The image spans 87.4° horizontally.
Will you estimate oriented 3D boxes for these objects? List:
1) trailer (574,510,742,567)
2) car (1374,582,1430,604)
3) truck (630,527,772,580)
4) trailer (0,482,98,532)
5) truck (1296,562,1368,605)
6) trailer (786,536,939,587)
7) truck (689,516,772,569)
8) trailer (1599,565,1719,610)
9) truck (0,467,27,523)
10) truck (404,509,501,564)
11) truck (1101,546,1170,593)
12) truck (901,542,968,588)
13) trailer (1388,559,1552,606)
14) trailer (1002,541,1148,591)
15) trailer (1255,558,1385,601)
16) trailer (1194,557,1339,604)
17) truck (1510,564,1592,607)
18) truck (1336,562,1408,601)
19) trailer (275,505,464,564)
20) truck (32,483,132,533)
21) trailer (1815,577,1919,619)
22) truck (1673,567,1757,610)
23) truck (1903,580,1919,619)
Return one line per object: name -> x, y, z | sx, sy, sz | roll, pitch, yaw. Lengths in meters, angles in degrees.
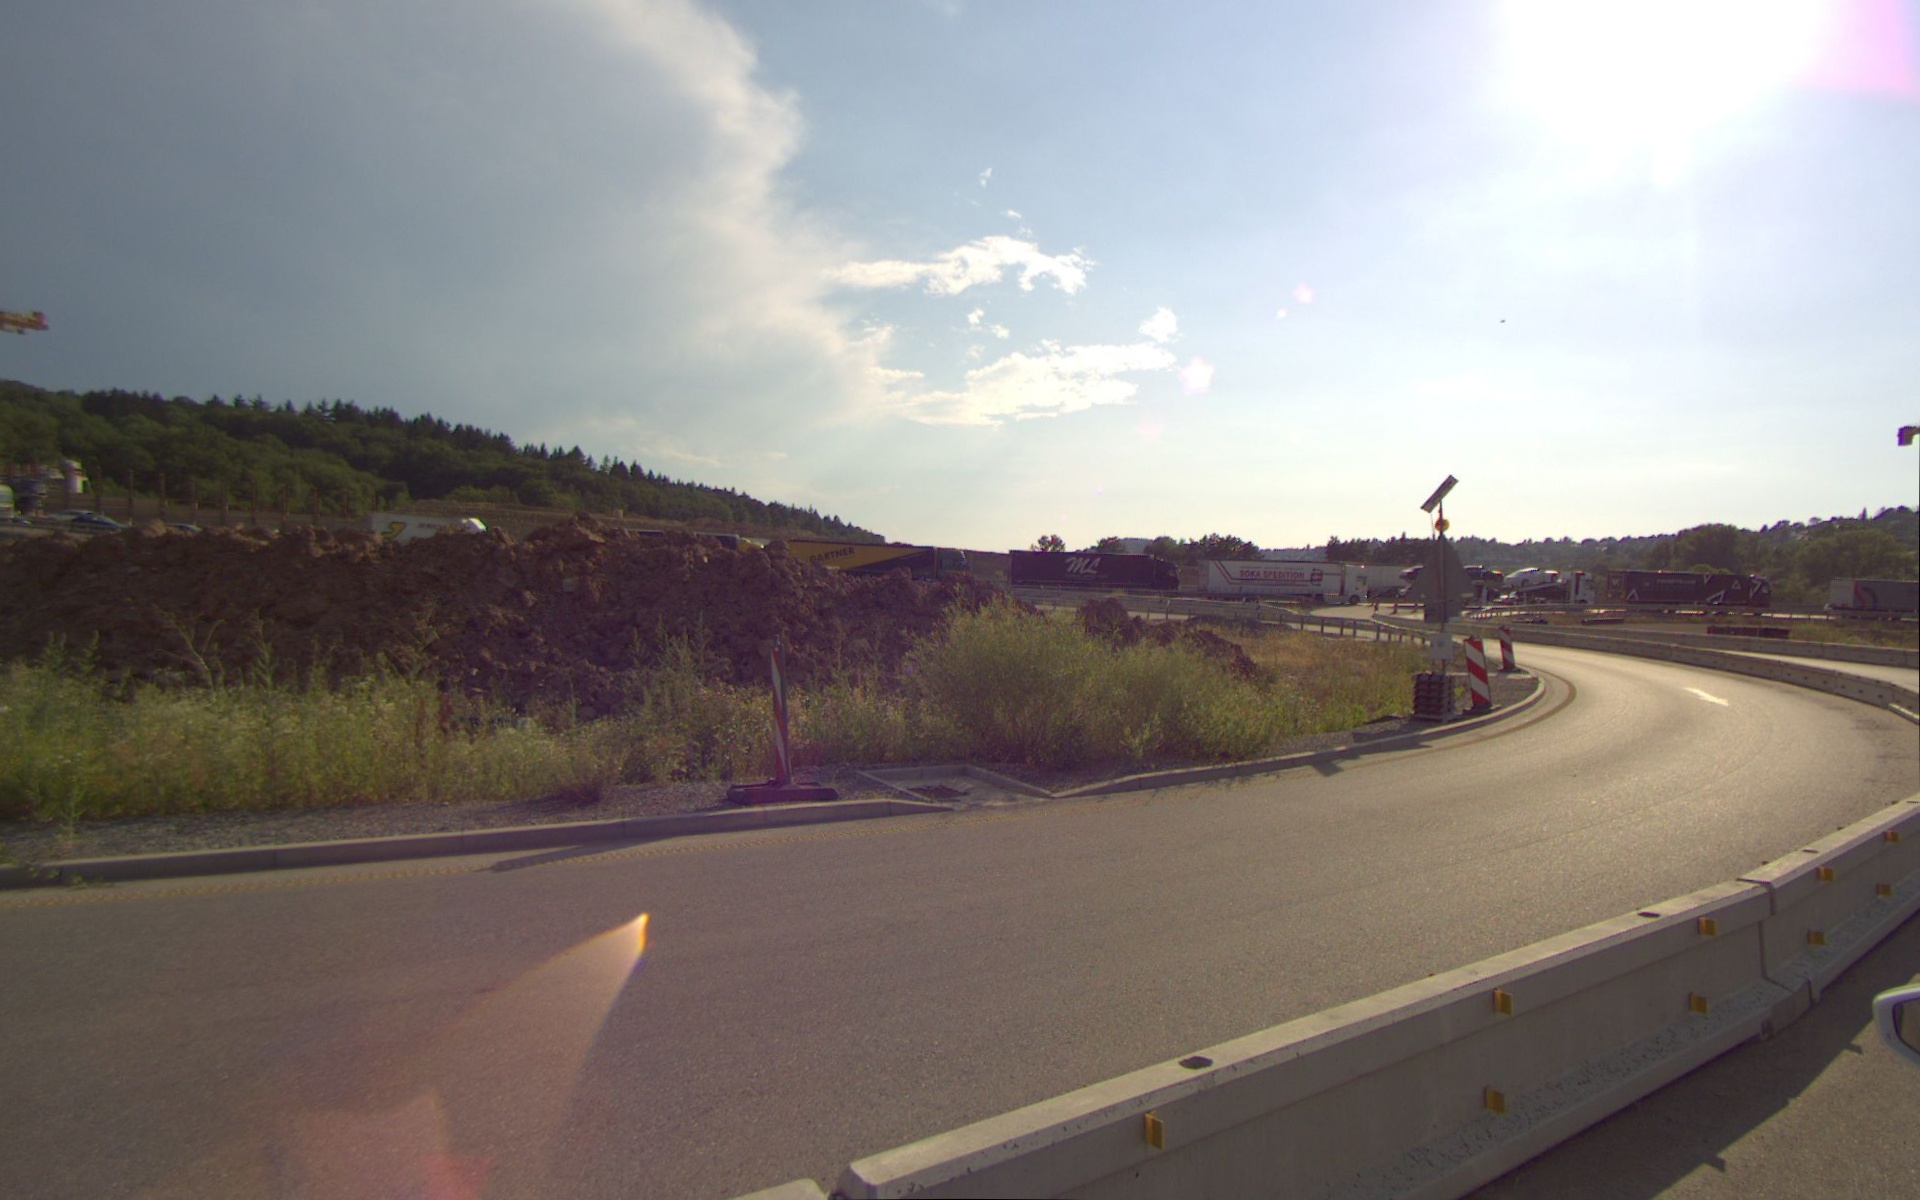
trailer -> -26.934, -5.417, 90.165 | 13.985, 4.372, 3.110 | 2, 1, -6
car -> 46.322, -0.715, 105.304 | 4.886, 2.008, 2.033 | 2, 4, -6
truck -> -25.131, -4.487, 98.174 | 12.929, 4.470, 3.569 | 2, 0, -7
trailer -> -94.255, -9.346, 99.193 | 14.001, 4.372, 3.107 | 2, 1, -12
truck -> 36.290, -1.611, 98.046 | 5.900, 3.930, 2.485 | 2, 2, -7
trailer -> -8.939, -3.502, 92.378 | 13.715, 4.012, 2.485 | 2, 2, -7
truck -> -20.682, -5.140, 90.854 | 6.767, 4.372, 3.110 | 2, 1, -6
trailer -> 71.209, -1.303, 102.376 | 10.590, 4.146, 2.965 | 2, 1, -6
truck -> -82.489, -8.854, 83.418 | 6.767, 4.372, 3.110 | 2, 1, -6
truck -> -44.407, -5.489, 88.055 | 6.767, 4.372, 3.110 | 2, 1, -6
truck -> 16.623, -2.891, 95.276 | 5.899, 4.115, 2.485 | 2, 2, -7
truck -> -2.406, -3.256, 93.134 | 5.899, 3.954, 2.485 | 2, 2, -7
trailer -> 50.601, -1.719, 99.813 | 15.454, 4.050, 2.863 | 2, 2, -7
trailer -> 10.804, -3.200, 94.574 | 13.377, 4.116, 2.485 | 2, 2, -7
trailer -> 38.955, -2.208, 108.829 | 13.226, 4.050, 2.863 | 2, 2, -7
trailer -> 29.623, -1.882, 97.180 | 13.379, 3.930, 2.485 | 2, 2, -7
truck -> 59.352, -1.444, 100.915 | 6.501, 4.050, 2.854 | 2, 2, -7
truck -> 44.917, -2.033, 109.554 | 6.501, 4.050, 2.854 | 2, 2, -7
trailer -> -51.097, -5.650, 87.329 | 13.985, 4.372, 3.110 | 2, 1, -6
truck -> -87.766, -9.172, 100.520 | 6.776, 4.372, 3.107 | 2, 1, -12
trailer -> 98.048, -0.152, 105.631 | 14.471, 4.050, 3.391 | 2, 2, -7
truck -> 77.356, -1.191, 102.983 | 6.500, 4.050, 2.891 | 2, 2, -6
truck -> 104.646, 0.097, 106.465 | 6.501, 4.050, 3.350 | 2, 2, -7
